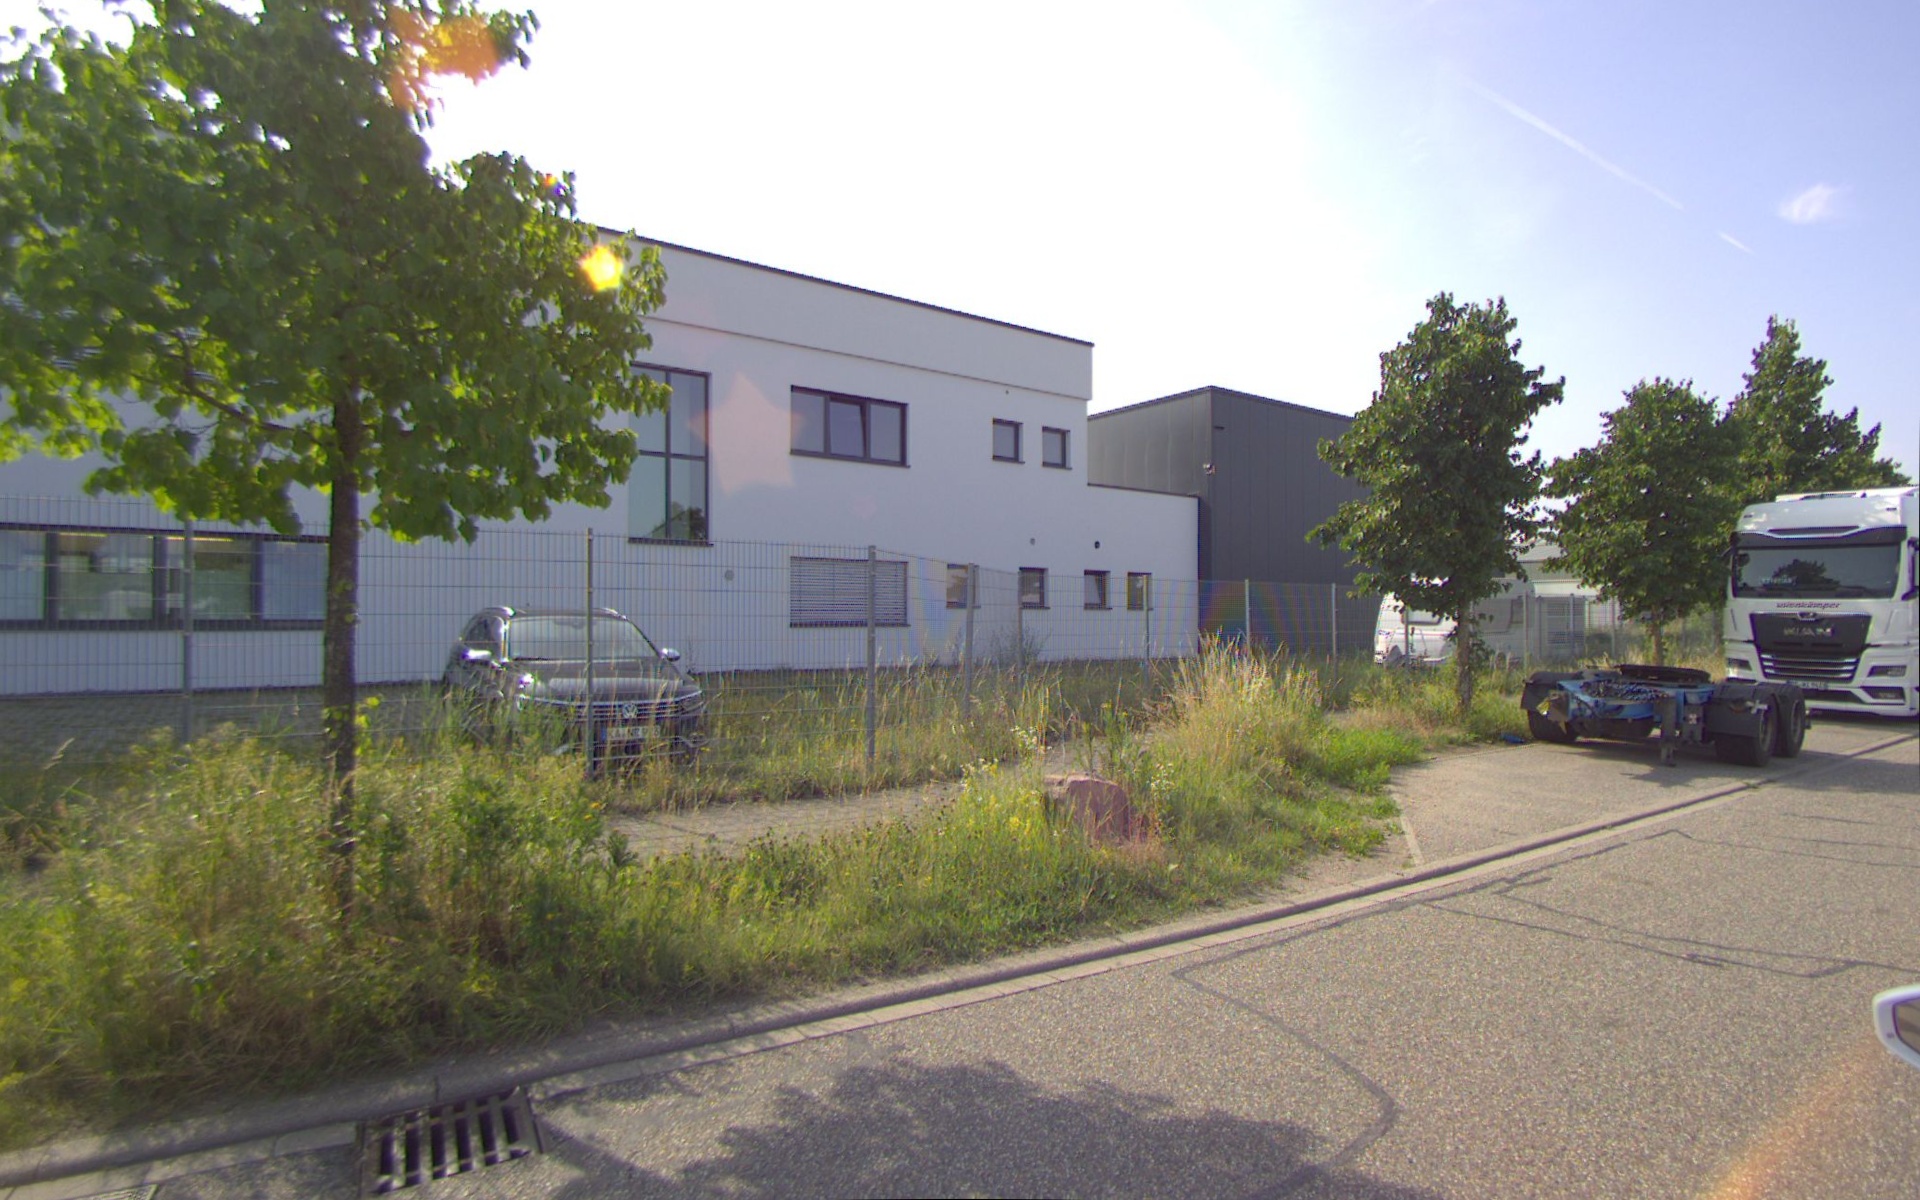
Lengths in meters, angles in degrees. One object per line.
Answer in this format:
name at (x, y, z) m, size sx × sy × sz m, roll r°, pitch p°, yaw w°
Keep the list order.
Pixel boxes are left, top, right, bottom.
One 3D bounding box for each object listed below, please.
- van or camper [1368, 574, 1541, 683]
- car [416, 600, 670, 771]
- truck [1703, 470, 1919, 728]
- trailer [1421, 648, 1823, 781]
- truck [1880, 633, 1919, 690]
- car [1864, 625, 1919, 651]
van or camper at (13.005, 0.739, 26.309) m, size 4.913 × 2.594 × 2.286 m, roll 1°, pitch -2°, yaw -40°
car at (-4.474, 0.756, 10.519) m, size 1.583 × 1.473 × 3.465 m, roll 1°, pitch -1°, yaw -39°
truck at (18.952, 0.084, 20.303) m, size 12.793 × 3.981 × 2.608 m, roll 1°, pitch -1°, yaw -36°
trailer at (8.170, 1.224, 12.229) m, size 5.153 × 1.114 × 2.555 m, roll 1°, pitch -1°, yaw -37°
truck at (25.537, 1.502, 25.236) m, size 6.467 × 1.282 × 2.506 m, roll 0°, pitch -2°, yaw -38°
car at (52.079, 2.063, 54.668) m, size 1.597 × 1.358 × 3.969 m, roll 0°, pitch -1°, yaw -29°
